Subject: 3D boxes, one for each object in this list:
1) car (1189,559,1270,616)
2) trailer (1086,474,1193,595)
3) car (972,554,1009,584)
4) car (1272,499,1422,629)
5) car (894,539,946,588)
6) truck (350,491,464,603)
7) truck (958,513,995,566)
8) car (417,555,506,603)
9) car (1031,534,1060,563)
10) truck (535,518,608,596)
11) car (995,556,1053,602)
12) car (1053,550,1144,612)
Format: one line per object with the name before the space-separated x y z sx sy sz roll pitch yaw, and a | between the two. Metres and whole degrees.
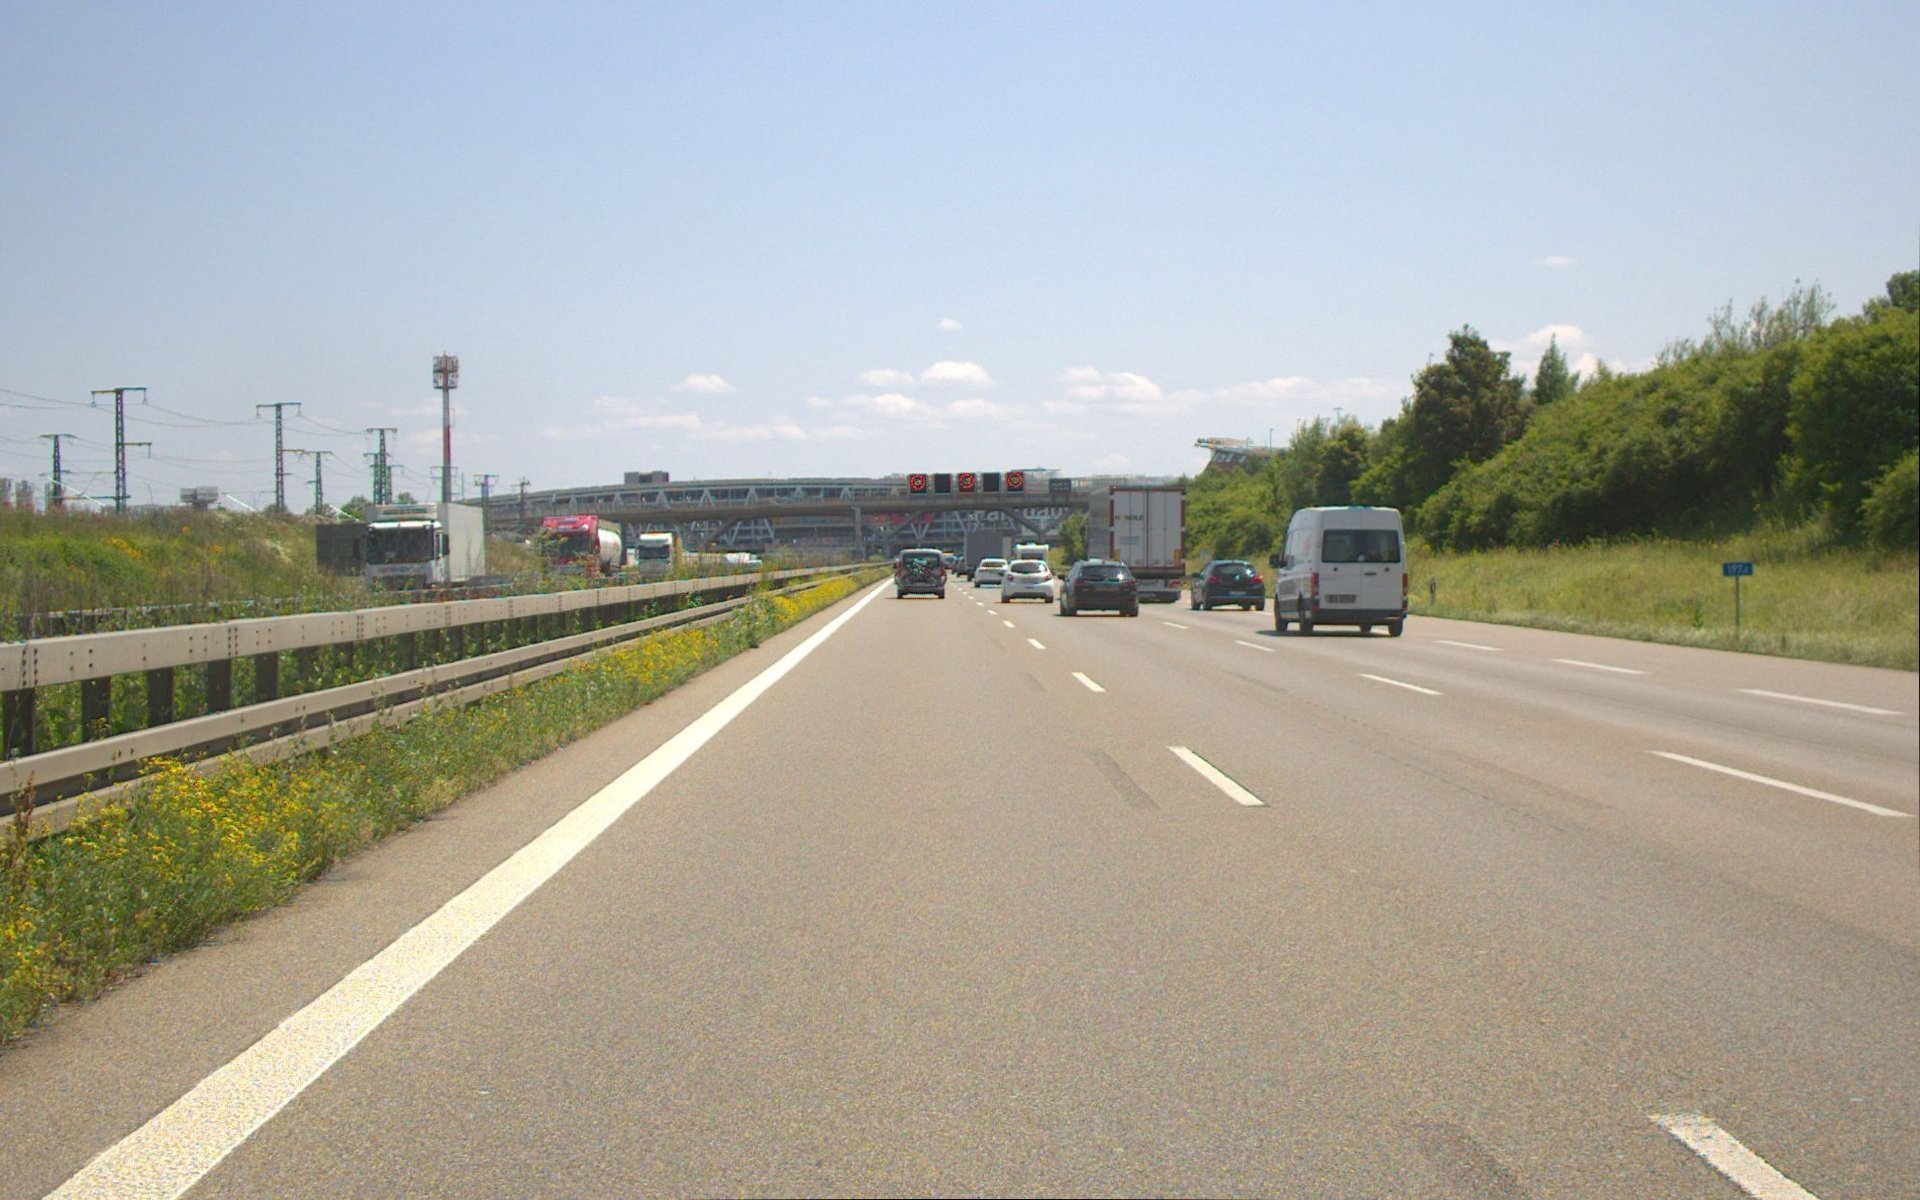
car | 7.966 -0.351 102.025 1.993 1.590 4.000 1 -1 -1
trailer | 6.287 -2.301 121.574 3.177 4.046 9.440 -1 1 0
car | 1.557 -1.588 177.260 1.881 1.521 4.000 1 0 1
car | 7.761 -0.743 69.441 2.274 2.519 5.400 0 1 -1
car | -1.468 -1.332 127.363 1.881 1.769 4.000 -1 0 0
truck | -17.368 -1.665 108.241 2.787 3.377 4.713 1 1 0
truck | 1.097 -3.990 227.198 2.355 3.404 6.057 0 1 0
car | -14.281 -0.610 98.637 1.993 1.301 4.204 -1 1 -1
car | 6.165 -3.712 247.857 1.993 2.007 4.437 -1 1 1
truck | -18.077 -2.010 160.125 2.787 3.509 4.713 1 1 0
car | 2.187 -0.706 116.942 1.881 1.521 4.000 1 0 2
car | 3.587 -0.472 89.784 1.993 1.503 4.000 1 -1 -3
